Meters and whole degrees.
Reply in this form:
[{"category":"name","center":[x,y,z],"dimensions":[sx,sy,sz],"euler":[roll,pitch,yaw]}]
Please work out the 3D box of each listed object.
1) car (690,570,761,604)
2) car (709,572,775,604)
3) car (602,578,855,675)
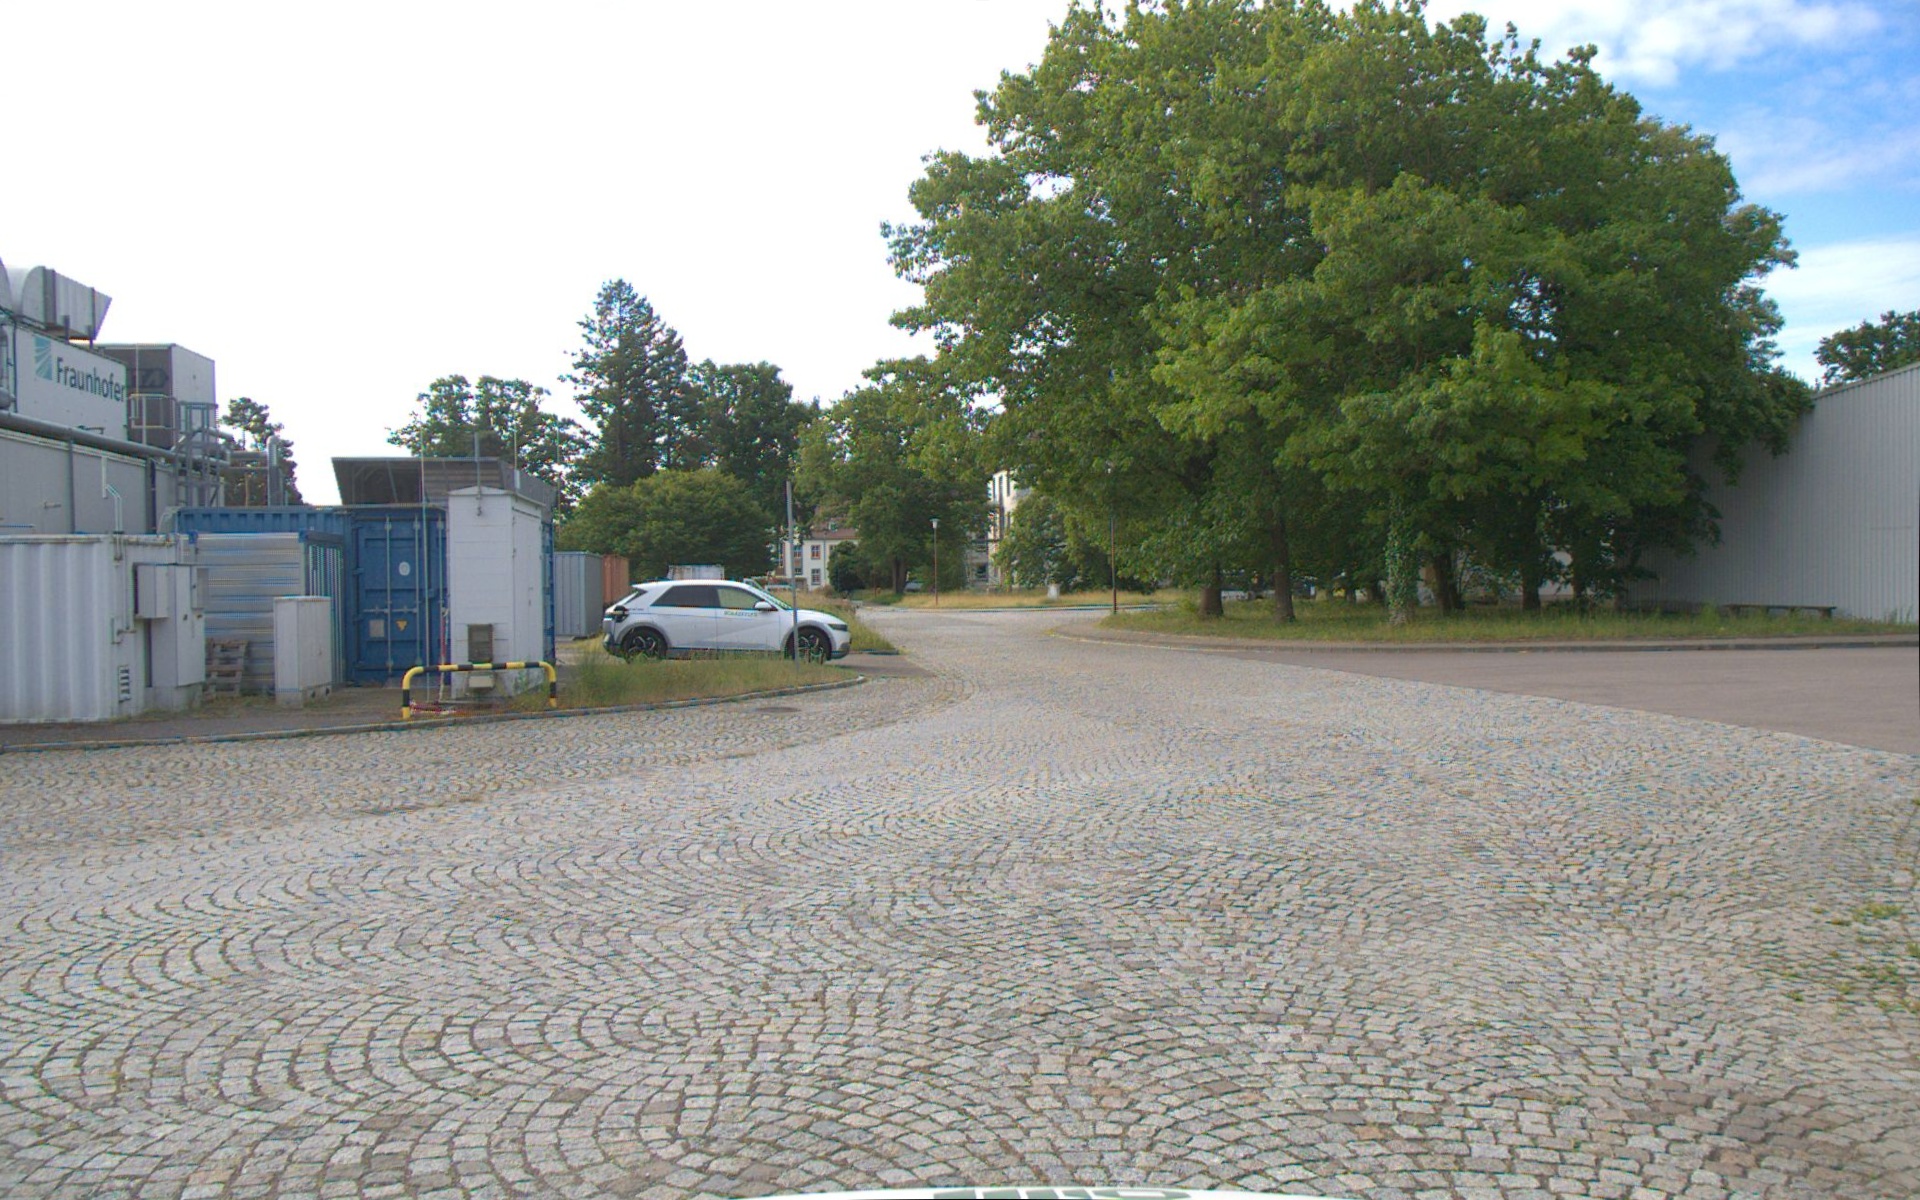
[{"category":"car","center":[-17.196,-0.965,121.538],"dimensions":[5.074,2.378,1.996],"euler":[-1,0,-8]},{"category":"car","center":[-17.284,-0.964,131.164],"dimensions":[5.074,2.378,1.996],"euler":[-1,0,-8]},{"category":"car","center":[-4.208,0.461,30.589],"dimensions":[4.446,1.627,1.998],"euler":[-1,0,-5]}]
